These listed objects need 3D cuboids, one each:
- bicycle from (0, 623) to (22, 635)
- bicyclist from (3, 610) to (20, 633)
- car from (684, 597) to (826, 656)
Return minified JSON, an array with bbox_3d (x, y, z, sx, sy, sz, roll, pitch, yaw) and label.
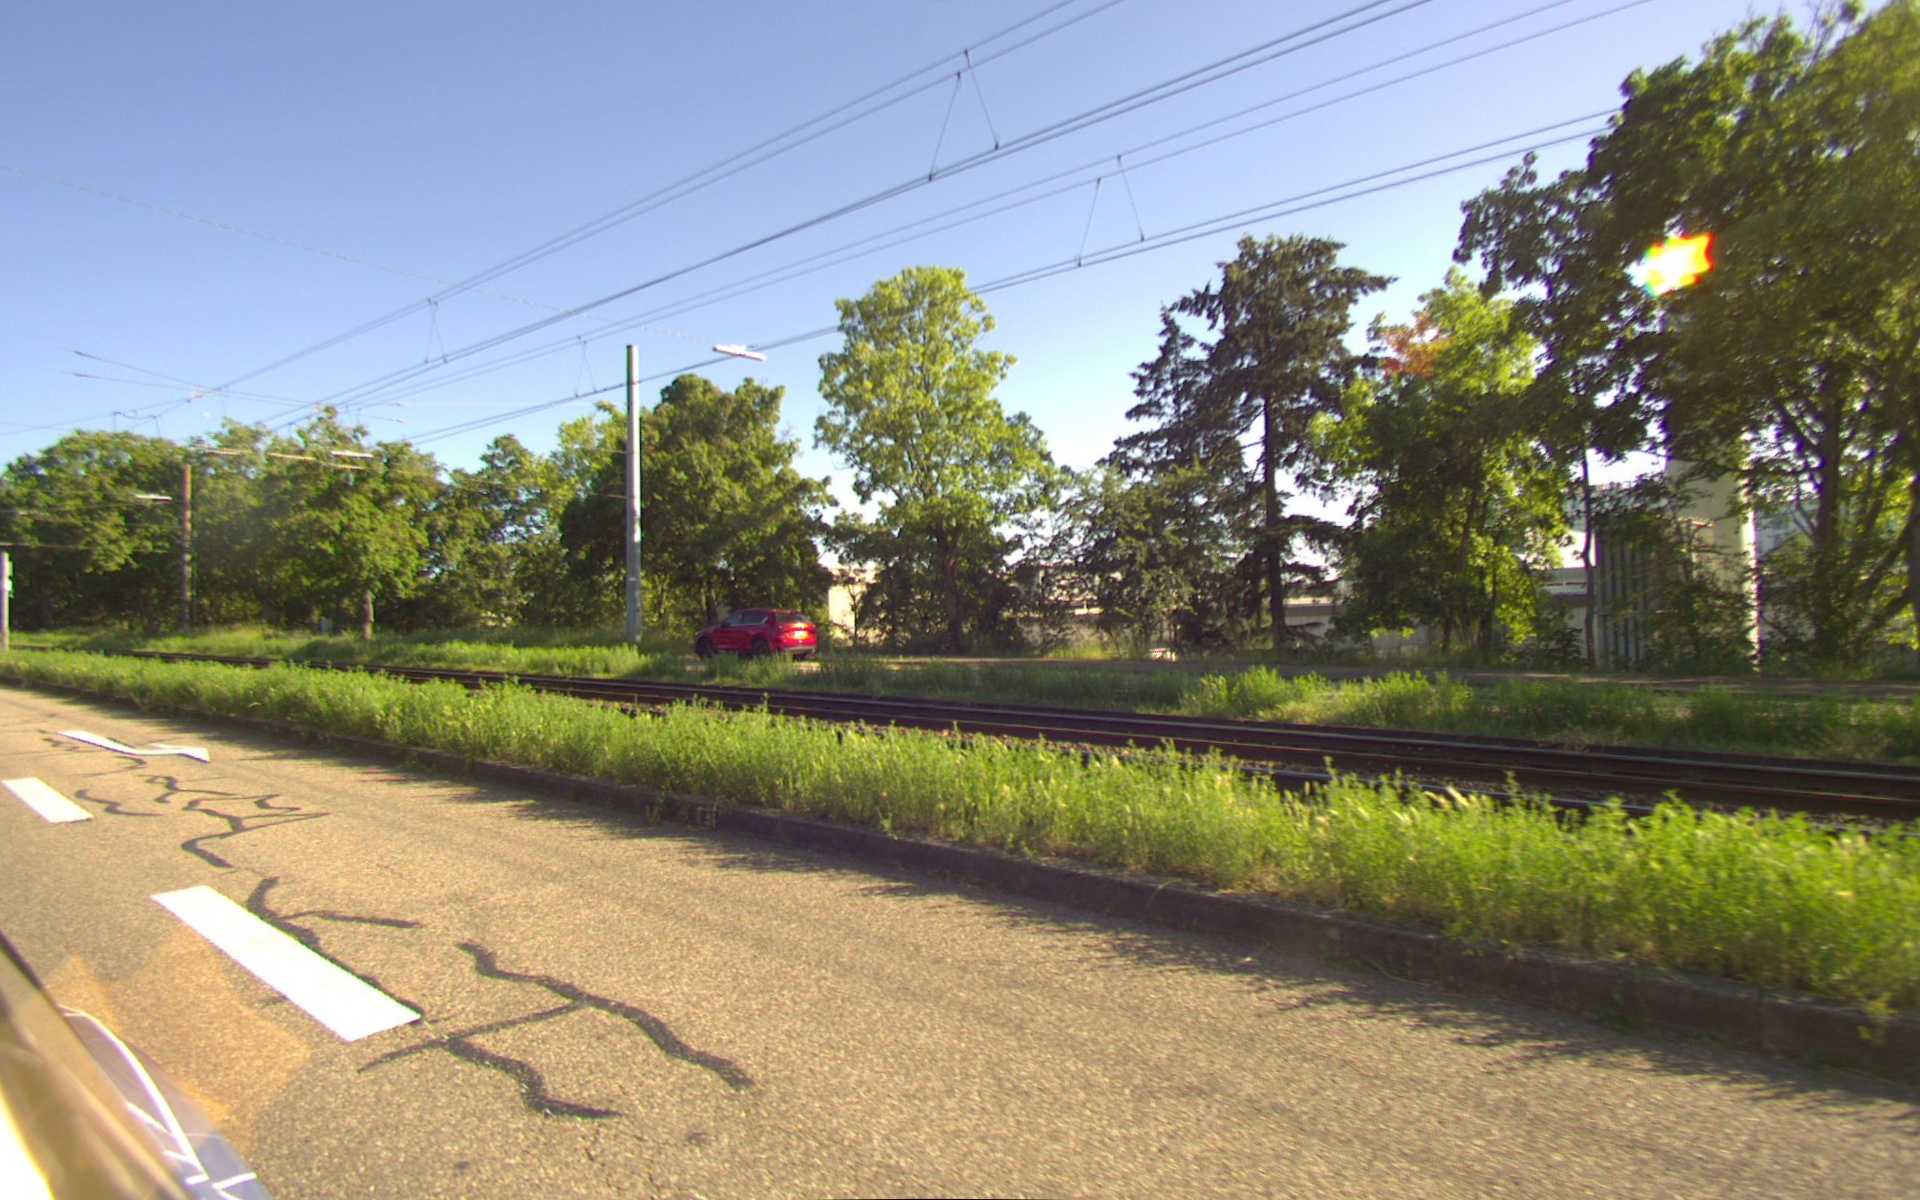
[{"bbox_3d":[-74.135,2.257,79.032,2.532,0.921,0.811,-1,-1,36],"label":"bicycle"},{"bbox_3d":[-74.046,1.673,78.976,0.900,1.749,0.812,-1,-1,35],"label":"bicyclist"},{"bbox_3d":[-6.443,0.816,31.581,4.462,1.715,1.984,-1,-1,40],"label":"car"}]
